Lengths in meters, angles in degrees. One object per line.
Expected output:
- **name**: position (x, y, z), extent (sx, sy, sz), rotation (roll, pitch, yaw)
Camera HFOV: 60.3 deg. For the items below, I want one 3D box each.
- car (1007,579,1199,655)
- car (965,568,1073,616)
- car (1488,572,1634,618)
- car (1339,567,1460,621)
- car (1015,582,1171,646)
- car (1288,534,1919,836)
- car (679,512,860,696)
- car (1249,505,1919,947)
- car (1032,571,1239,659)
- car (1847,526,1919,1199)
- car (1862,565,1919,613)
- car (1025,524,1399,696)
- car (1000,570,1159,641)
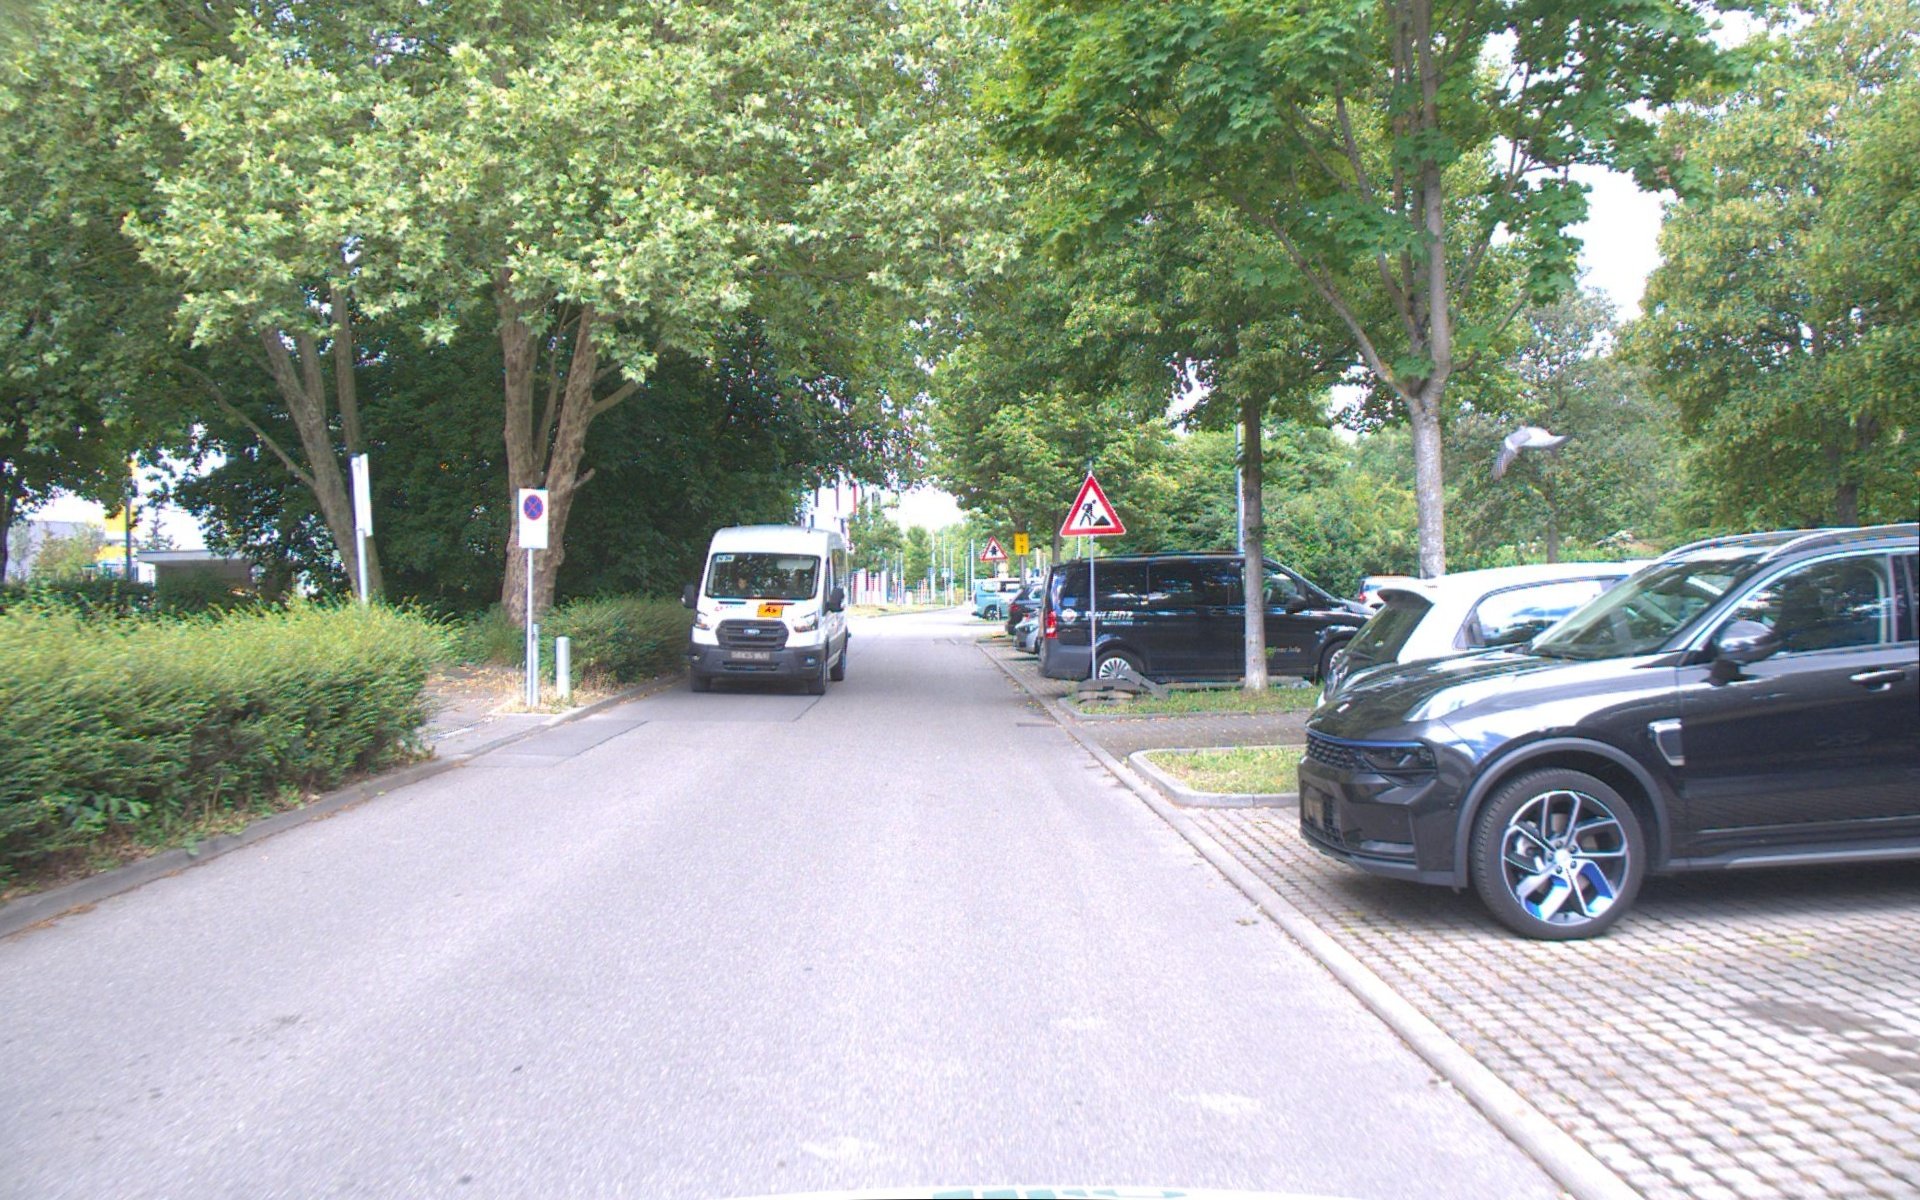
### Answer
- **car**: position (3.060, 0.369, 36.004), extent (3.907, 1.455, 1.935), rotation (-2, 0, -2)
- **car**: position (2.702, -0.378, 76.579), extent (4.871, 2.006, 1.846), rotation (-3, 0, -1)
- **car**: position (20.062, -0.156, 55.342), extent (4.300, 1.453, 1.704), rotation (-1, 0, 4)
- **car**: position (14.843, -0.197, 55.998), extent (3.699, 1.697, 1.769), rotation (-1, 0, 6)
- **car**: position (3.272, 0.346, 41.183), extent (3.753, 1.382, 1.822), rotation (-2, 0, 2)
- **car**: position (3.940, 0.472, 10.467), extent (3.310, 1.602, 1.796), rotation (-2, 1, -1)
- **car**: position (-2.819, 0.029, 25.969), extent (2.088, 2.519, 6.276), rotation (0, 1, 0)
- **car**: position (3.759, 0.452, 7.854), extent (4.326, 1.705, 2.081), rotation (-2, 1, -2)
- **car**: position (3.487, 0.290, 33.302), extent (3.906, 1.554, 1.810), rotation (-2, 0, -1)
- **car**: position (4.264, 0.532, 2.699), extent (4.541, 1.543, 1.983), rotation (-2, 1, 0)
- **car**: position (32.376, -0.381, 54.650), extent (4.192, 1.553, 1.704), rotation (-1, 0, 5)
- **car**: position (3.431, 0.122, 23.296), extent (4.853, 2.048, 2.165), rotation (-3, 0, 0)
- **car**: position (3.129, 0.153, 43.815), extent (4.038, 1.678, 1.980), rotation (-2, 0, 2)
